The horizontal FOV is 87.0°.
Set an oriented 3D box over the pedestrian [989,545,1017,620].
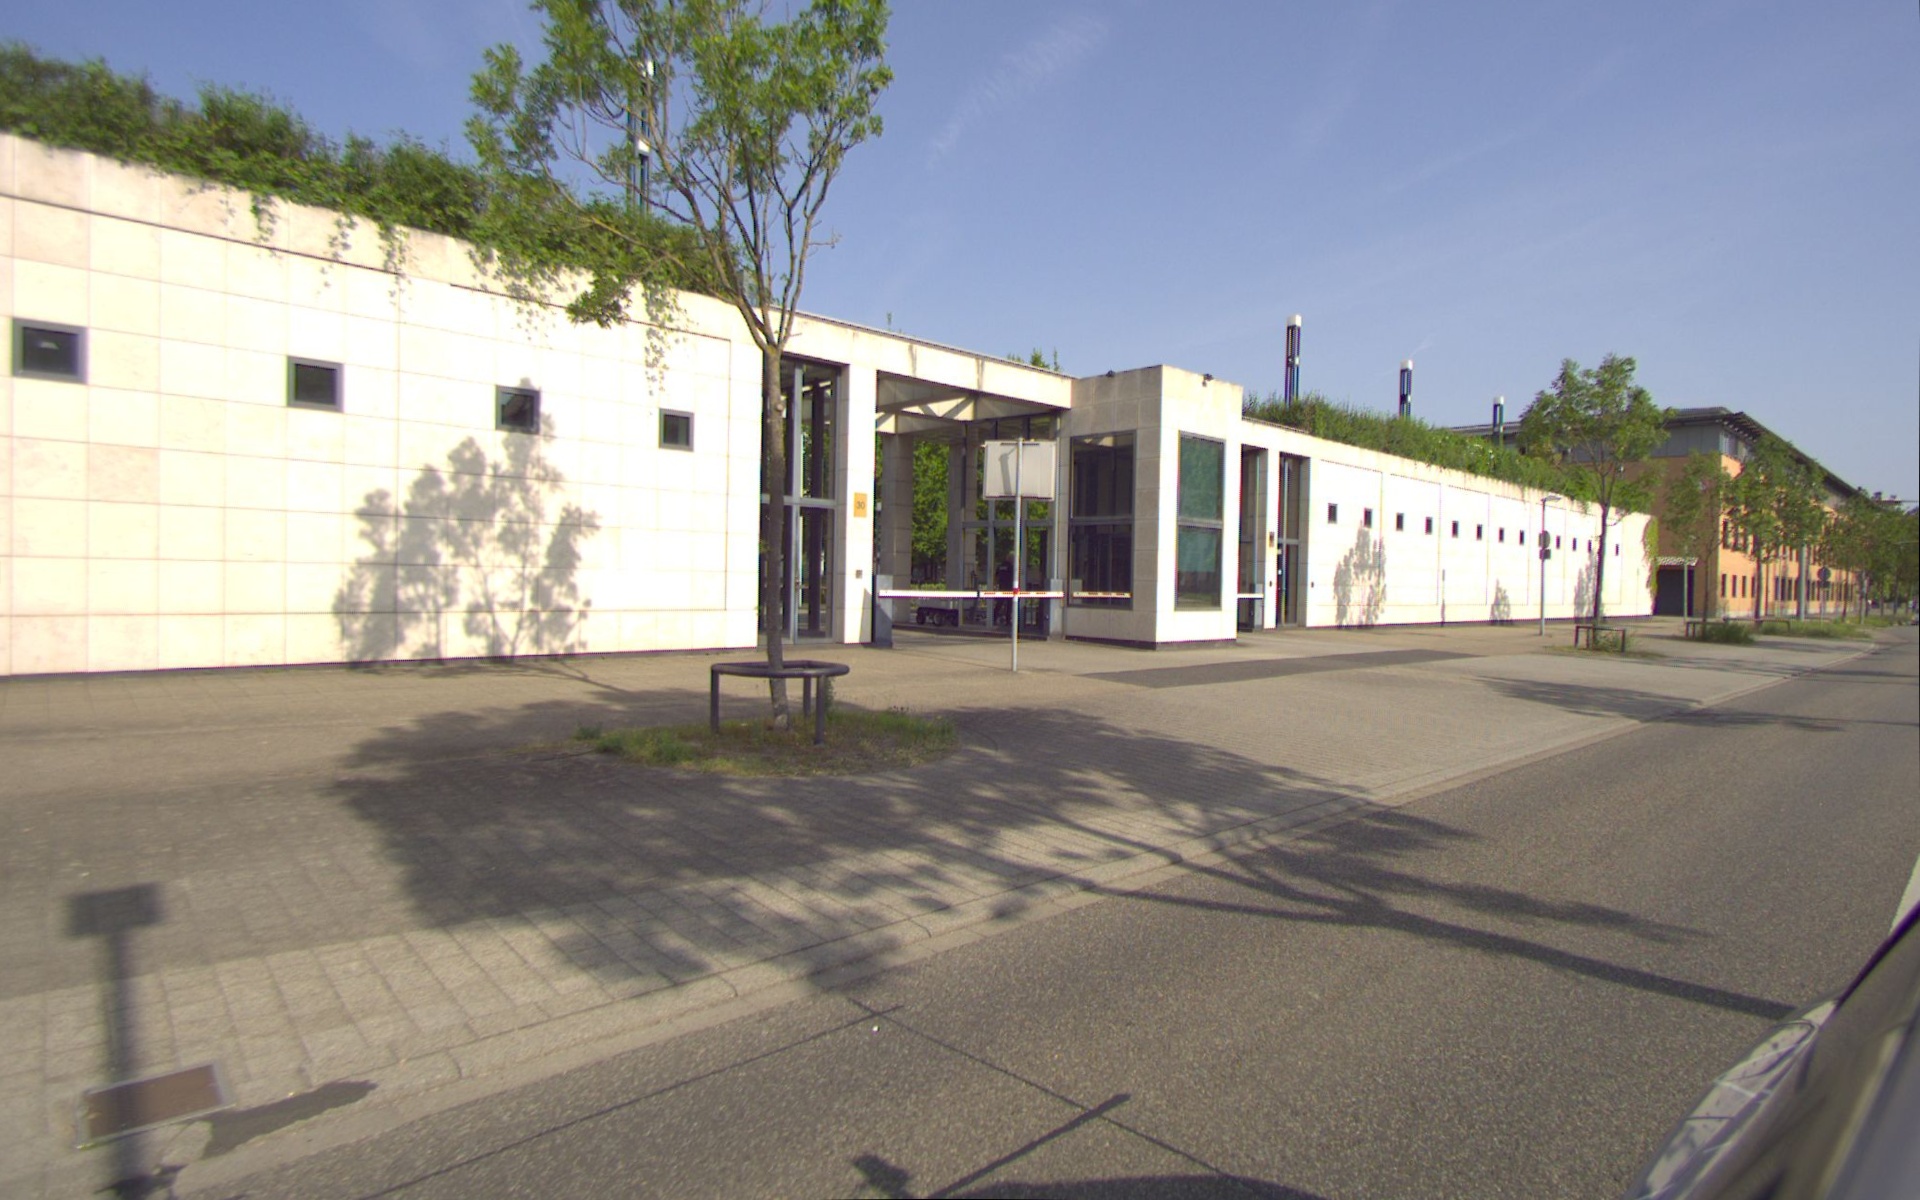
[{"bbox_3d":[1.105,-0.447,25.892,0.549,1.895,0.592,-1,2,15],"label":"pedestrian"}]
